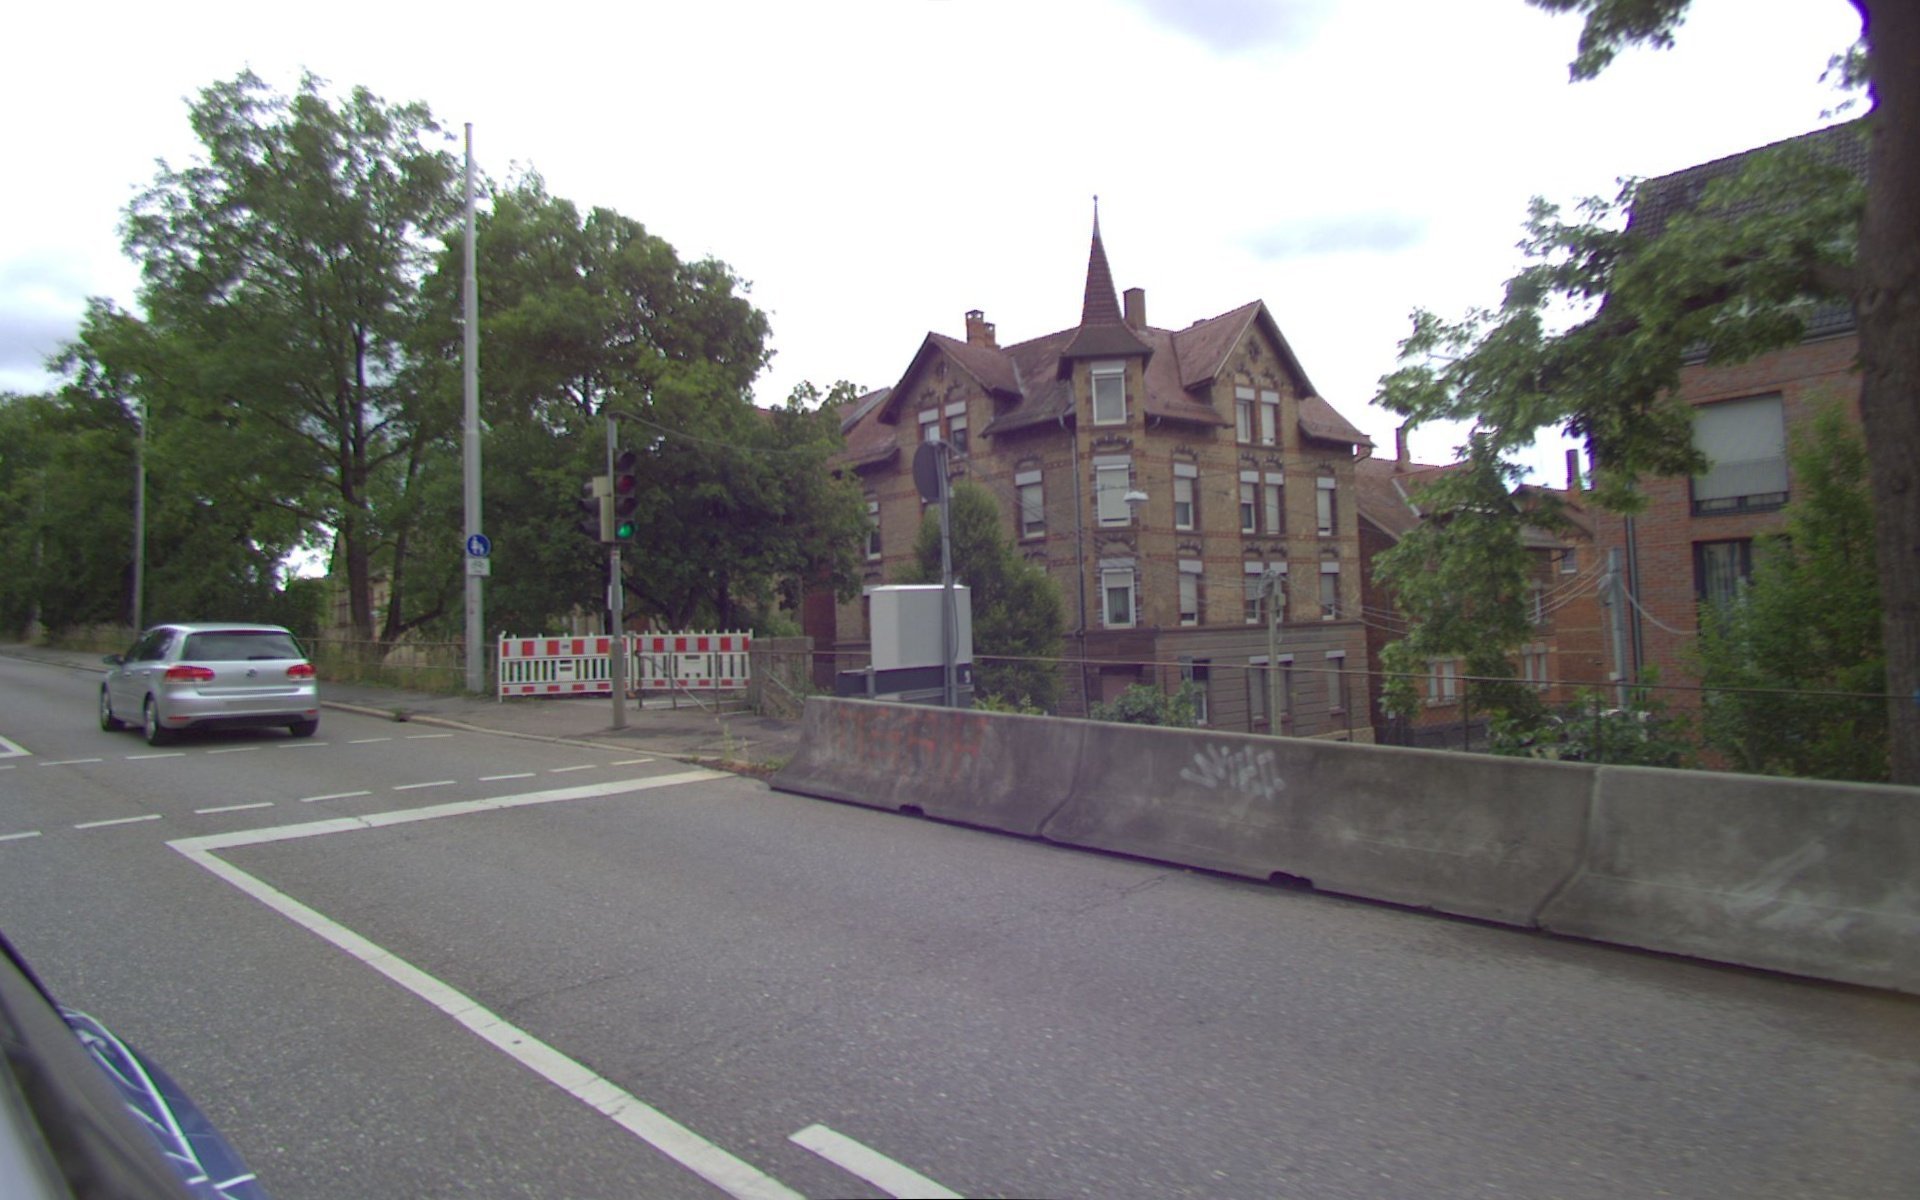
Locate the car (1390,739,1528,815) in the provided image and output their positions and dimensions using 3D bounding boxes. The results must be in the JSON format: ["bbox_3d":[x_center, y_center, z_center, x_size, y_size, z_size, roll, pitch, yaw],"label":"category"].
[{"bbox_3d":[13.287,4.620,26.858,3.937,1.522,1.803,2,-6,-41],"label":"car"}]

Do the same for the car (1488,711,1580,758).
[{"bbox_3d":[23.120,5.369,40.733,3.935,1.522,1.803,1,-4,-38],"label":"car"}]

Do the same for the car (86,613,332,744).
[{"bbox_3d":[-9.979,0.950,13.335,4.156,1.456,1.702,-2,-3,41],"label":"car"}]
